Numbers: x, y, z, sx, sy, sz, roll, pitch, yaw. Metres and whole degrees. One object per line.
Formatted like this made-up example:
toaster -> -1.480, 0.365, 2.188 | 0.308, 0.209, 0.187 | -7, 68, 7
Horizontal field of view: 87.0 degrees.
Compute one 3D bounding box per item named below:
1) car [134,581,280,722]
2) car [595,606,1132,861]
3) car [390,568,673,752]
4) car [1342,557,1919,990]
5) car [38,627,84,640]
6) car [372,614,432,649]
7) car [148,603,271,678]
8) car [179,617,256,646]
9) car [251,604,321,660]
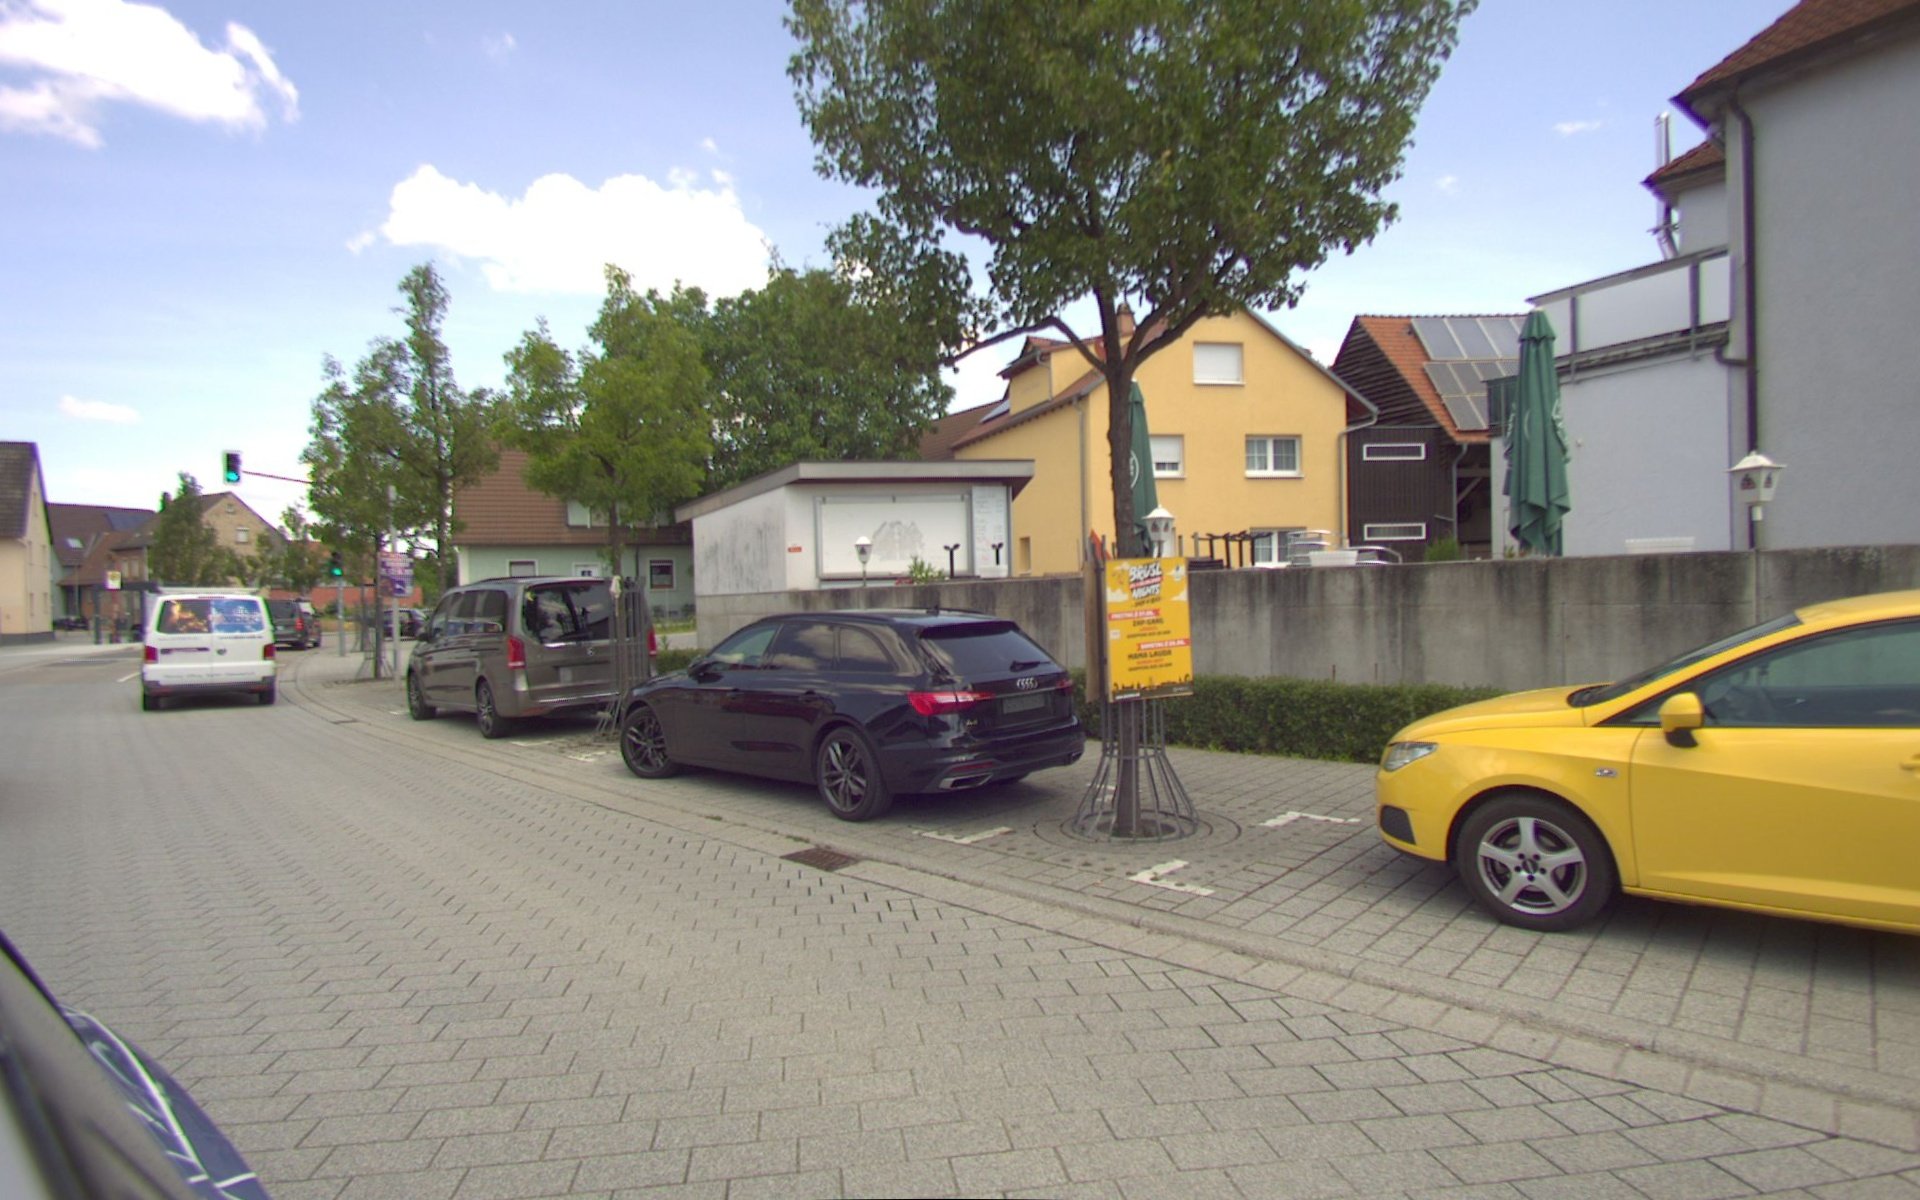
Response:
car -> -13.687, 0.832, 18.357 | 1.863, 2.202, 5.040 | -1, -1, -38
car -> -1.031, 0.823, 8.092 | 1.795, 1.434, 4.540 | -1, 0, -45
car -> -5.936, 0.689, 13.613 | 1.962, 2.005, 5.050 | -1, 0, -42
car -> 3.843, 0.589, 4.086 | 3.962, 1.486, 1.650 | -2, -1, 42
car -> -80.419, 2.981, 90.545 | 3.980, 1.068, 1.787 | -1, 0, 27
car -> -26.237, 1.430, 47.706 | 1.708, 1.502, 4.514 | -1, 0, -19
car -> -21.031, 1.086, 28.277 | 4.868, 1.894, 1.971 | -2, 0, 44
car -> -44.452, 1.869, 60.660 | 3.489, 1.605, 1.671 | -2, 0, -30
car -> -26.010, 1.210, 39.183 | 1.635, 2.029, 4.013 | -1, 0, -25
